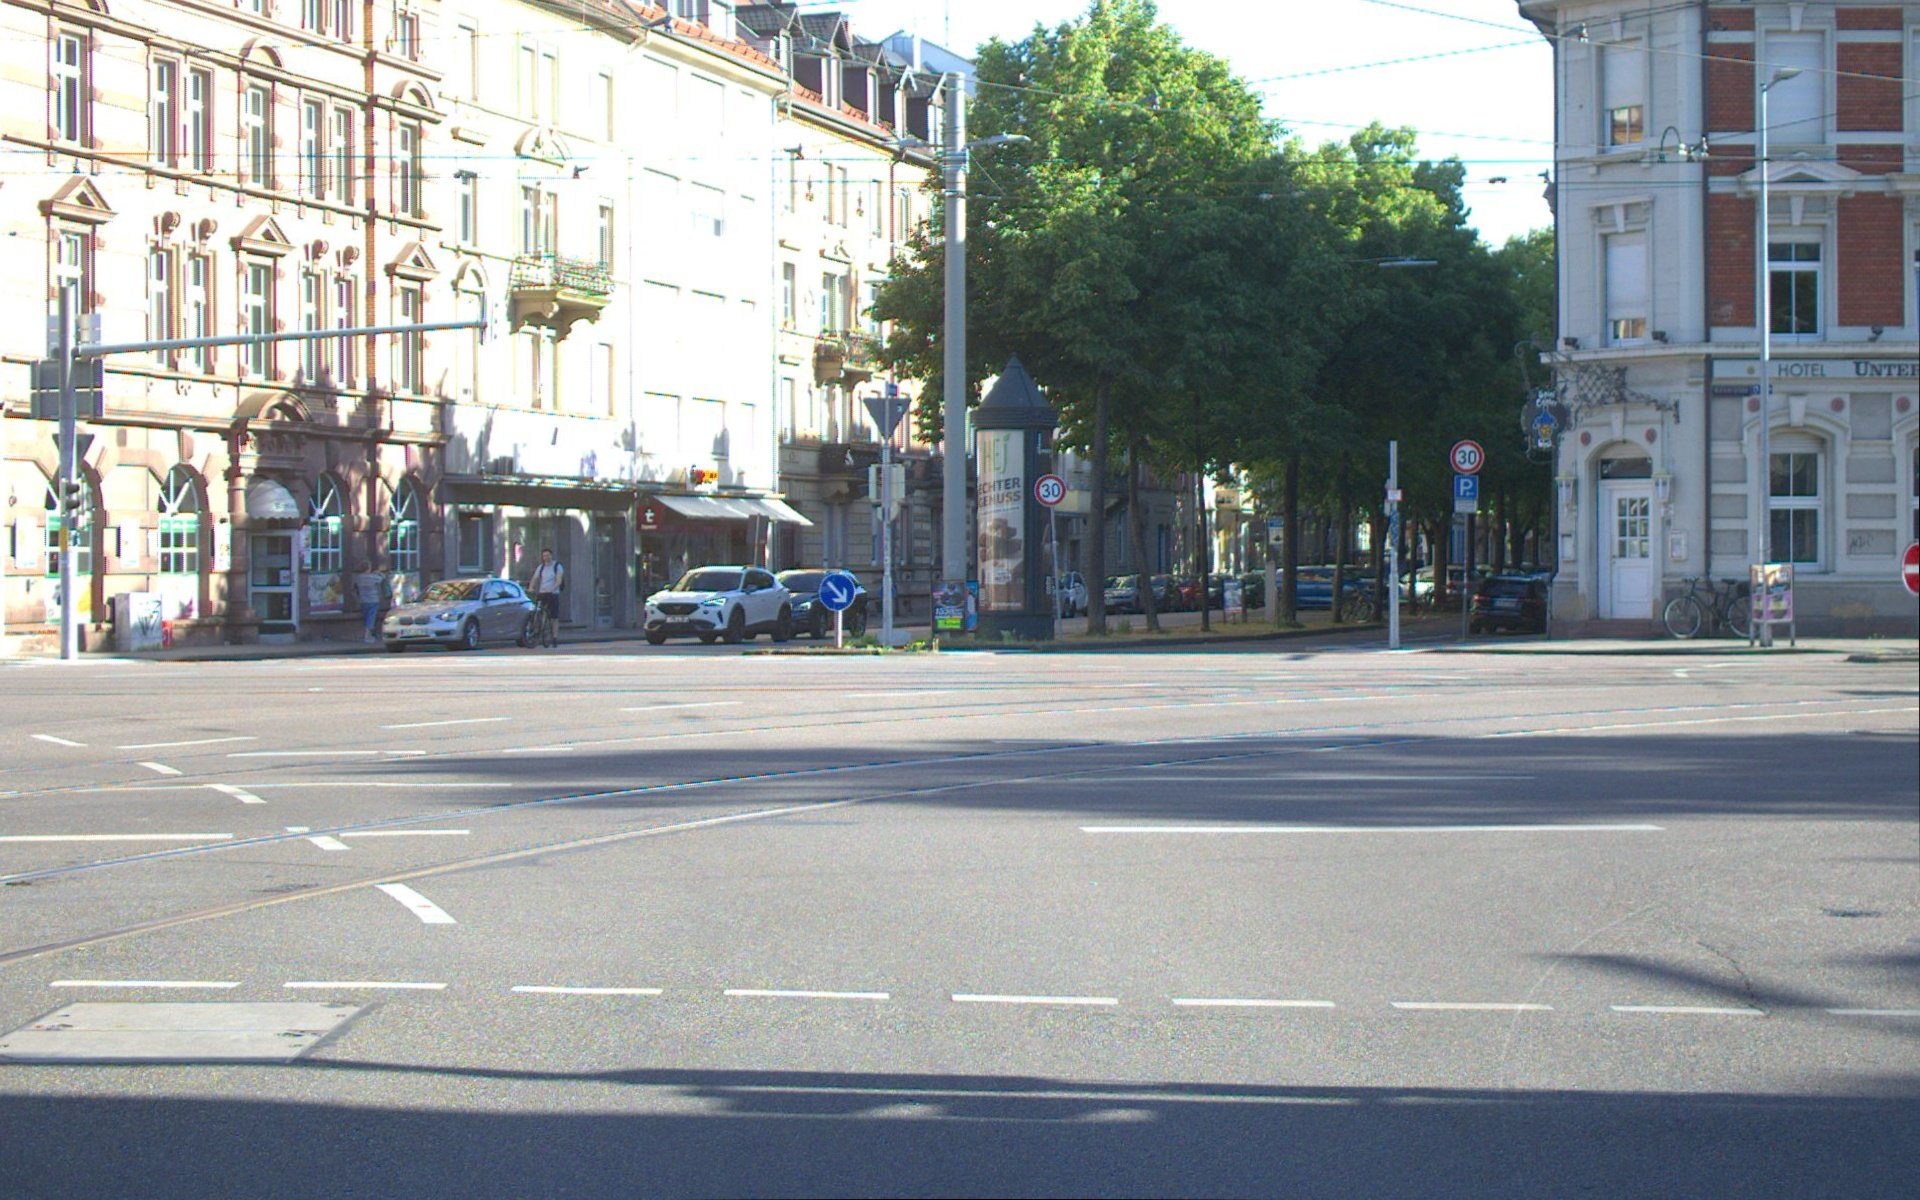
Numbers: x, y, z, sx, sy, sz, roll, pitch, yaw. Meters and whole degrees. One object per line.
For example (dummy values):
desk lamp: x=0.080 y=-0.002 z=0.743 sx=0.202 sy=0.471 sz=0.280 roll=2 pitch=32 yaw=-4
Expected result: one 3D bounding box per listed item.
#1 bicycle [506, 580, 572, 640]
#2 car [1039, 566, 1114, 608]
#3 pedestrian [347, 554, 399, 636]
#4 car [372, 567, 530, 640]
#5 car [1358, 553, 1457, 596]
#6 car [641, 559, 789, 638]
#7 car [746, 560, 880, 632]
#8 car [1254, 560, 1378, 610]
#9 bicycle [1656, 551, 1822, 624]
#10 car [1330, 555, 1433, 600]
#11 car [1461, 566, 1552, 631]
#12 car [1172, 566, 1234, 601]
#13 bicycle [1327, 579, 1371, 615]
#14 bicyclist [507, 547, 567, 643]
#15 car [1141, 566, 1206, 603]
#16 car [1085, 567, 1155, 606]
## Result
bicycle: x=-7.979 y=0.182 z=65.273 sx=0.702 sy=1.114 sz=1.634 roll=1 pitch=1 yaw=13
car: x=3.930 y=-0.443 z=115.488 sx=1.678 sy=1.349 sz=3.588 roll=0 pitch=1 yaw=17
pedestrian: x=-12.085 y=-0.110 z=70.792 sx=0.776 sy=1.664 sz=0.830 roll=1 pitch=0 yaw=15
car: x=-9.873 y=0.052 z=66.918 sx=1.678 sy=1.349 sz=3.588 roll=0 pitch=1 yaw=17
car: x=17.383 y=-0.996 z=133.517 sx=3.582 sy=1.642 sz=1.681 roll=0 pitch=1 yaw=17
car: x=-4.762 y=-0.054 z=67.322 sx=1.678 sy=1.478 sz=3.768 roll=0 pitch=1 yaw=16
car: x=-3.121 y=-0.104 z=73.624 sx=1.678 sy=1.478 sz=3.945 roll=0 pitch=1 yaw=16
car: x=11.988 y=-0.507 z=115.687 sx=3.905 sy=1.642 sz=1.681 roll=0 pitch=1 yaw=17
bicycle: x=12.969 y=-0.206 z=57.285 sx=2.554 sy=1.170 sz=0.819 roll=1 pitch=0 yaw=-3
car: x=15.709 y=-0.843 z=128.043 sx=3.582 sy=1.642 sz=1.681 roll=0 pitch=1 yaw=17
car: x=13.148 y=-0.055 z=82.583 sx=1.678 sy=1.478 sz=3.945 roll=0 pitch=1 yaw=16
car: x=9.608 y=-0.651 z=135.787 sx=1.678 sy=1.349 sz=3.588 roll=0 pitch=1 yaw=17
bicycle: x=11.259 y=-0.102 z=99.493 sx=0.636 sy=1.018 sz=1.847 roll=1 pitch=1 yaw=-14
bicyclist: x=-8.015 y=-0.091 z=65.147 sx=0.779 sy=1.797 sz=1.055 roll=1 pitch=0 yaw=14
car: x=8.136 y=-0.612 z=130.757 sx=1.678 sy=1.349 sz=3.588 roll=0 pitch=1 yaw=17
car: x=5.701 y=-0.486 z=122.450 sx=1.678 sy=1.349 sz=3.588 roll=0 pitch=1 yaw=17
